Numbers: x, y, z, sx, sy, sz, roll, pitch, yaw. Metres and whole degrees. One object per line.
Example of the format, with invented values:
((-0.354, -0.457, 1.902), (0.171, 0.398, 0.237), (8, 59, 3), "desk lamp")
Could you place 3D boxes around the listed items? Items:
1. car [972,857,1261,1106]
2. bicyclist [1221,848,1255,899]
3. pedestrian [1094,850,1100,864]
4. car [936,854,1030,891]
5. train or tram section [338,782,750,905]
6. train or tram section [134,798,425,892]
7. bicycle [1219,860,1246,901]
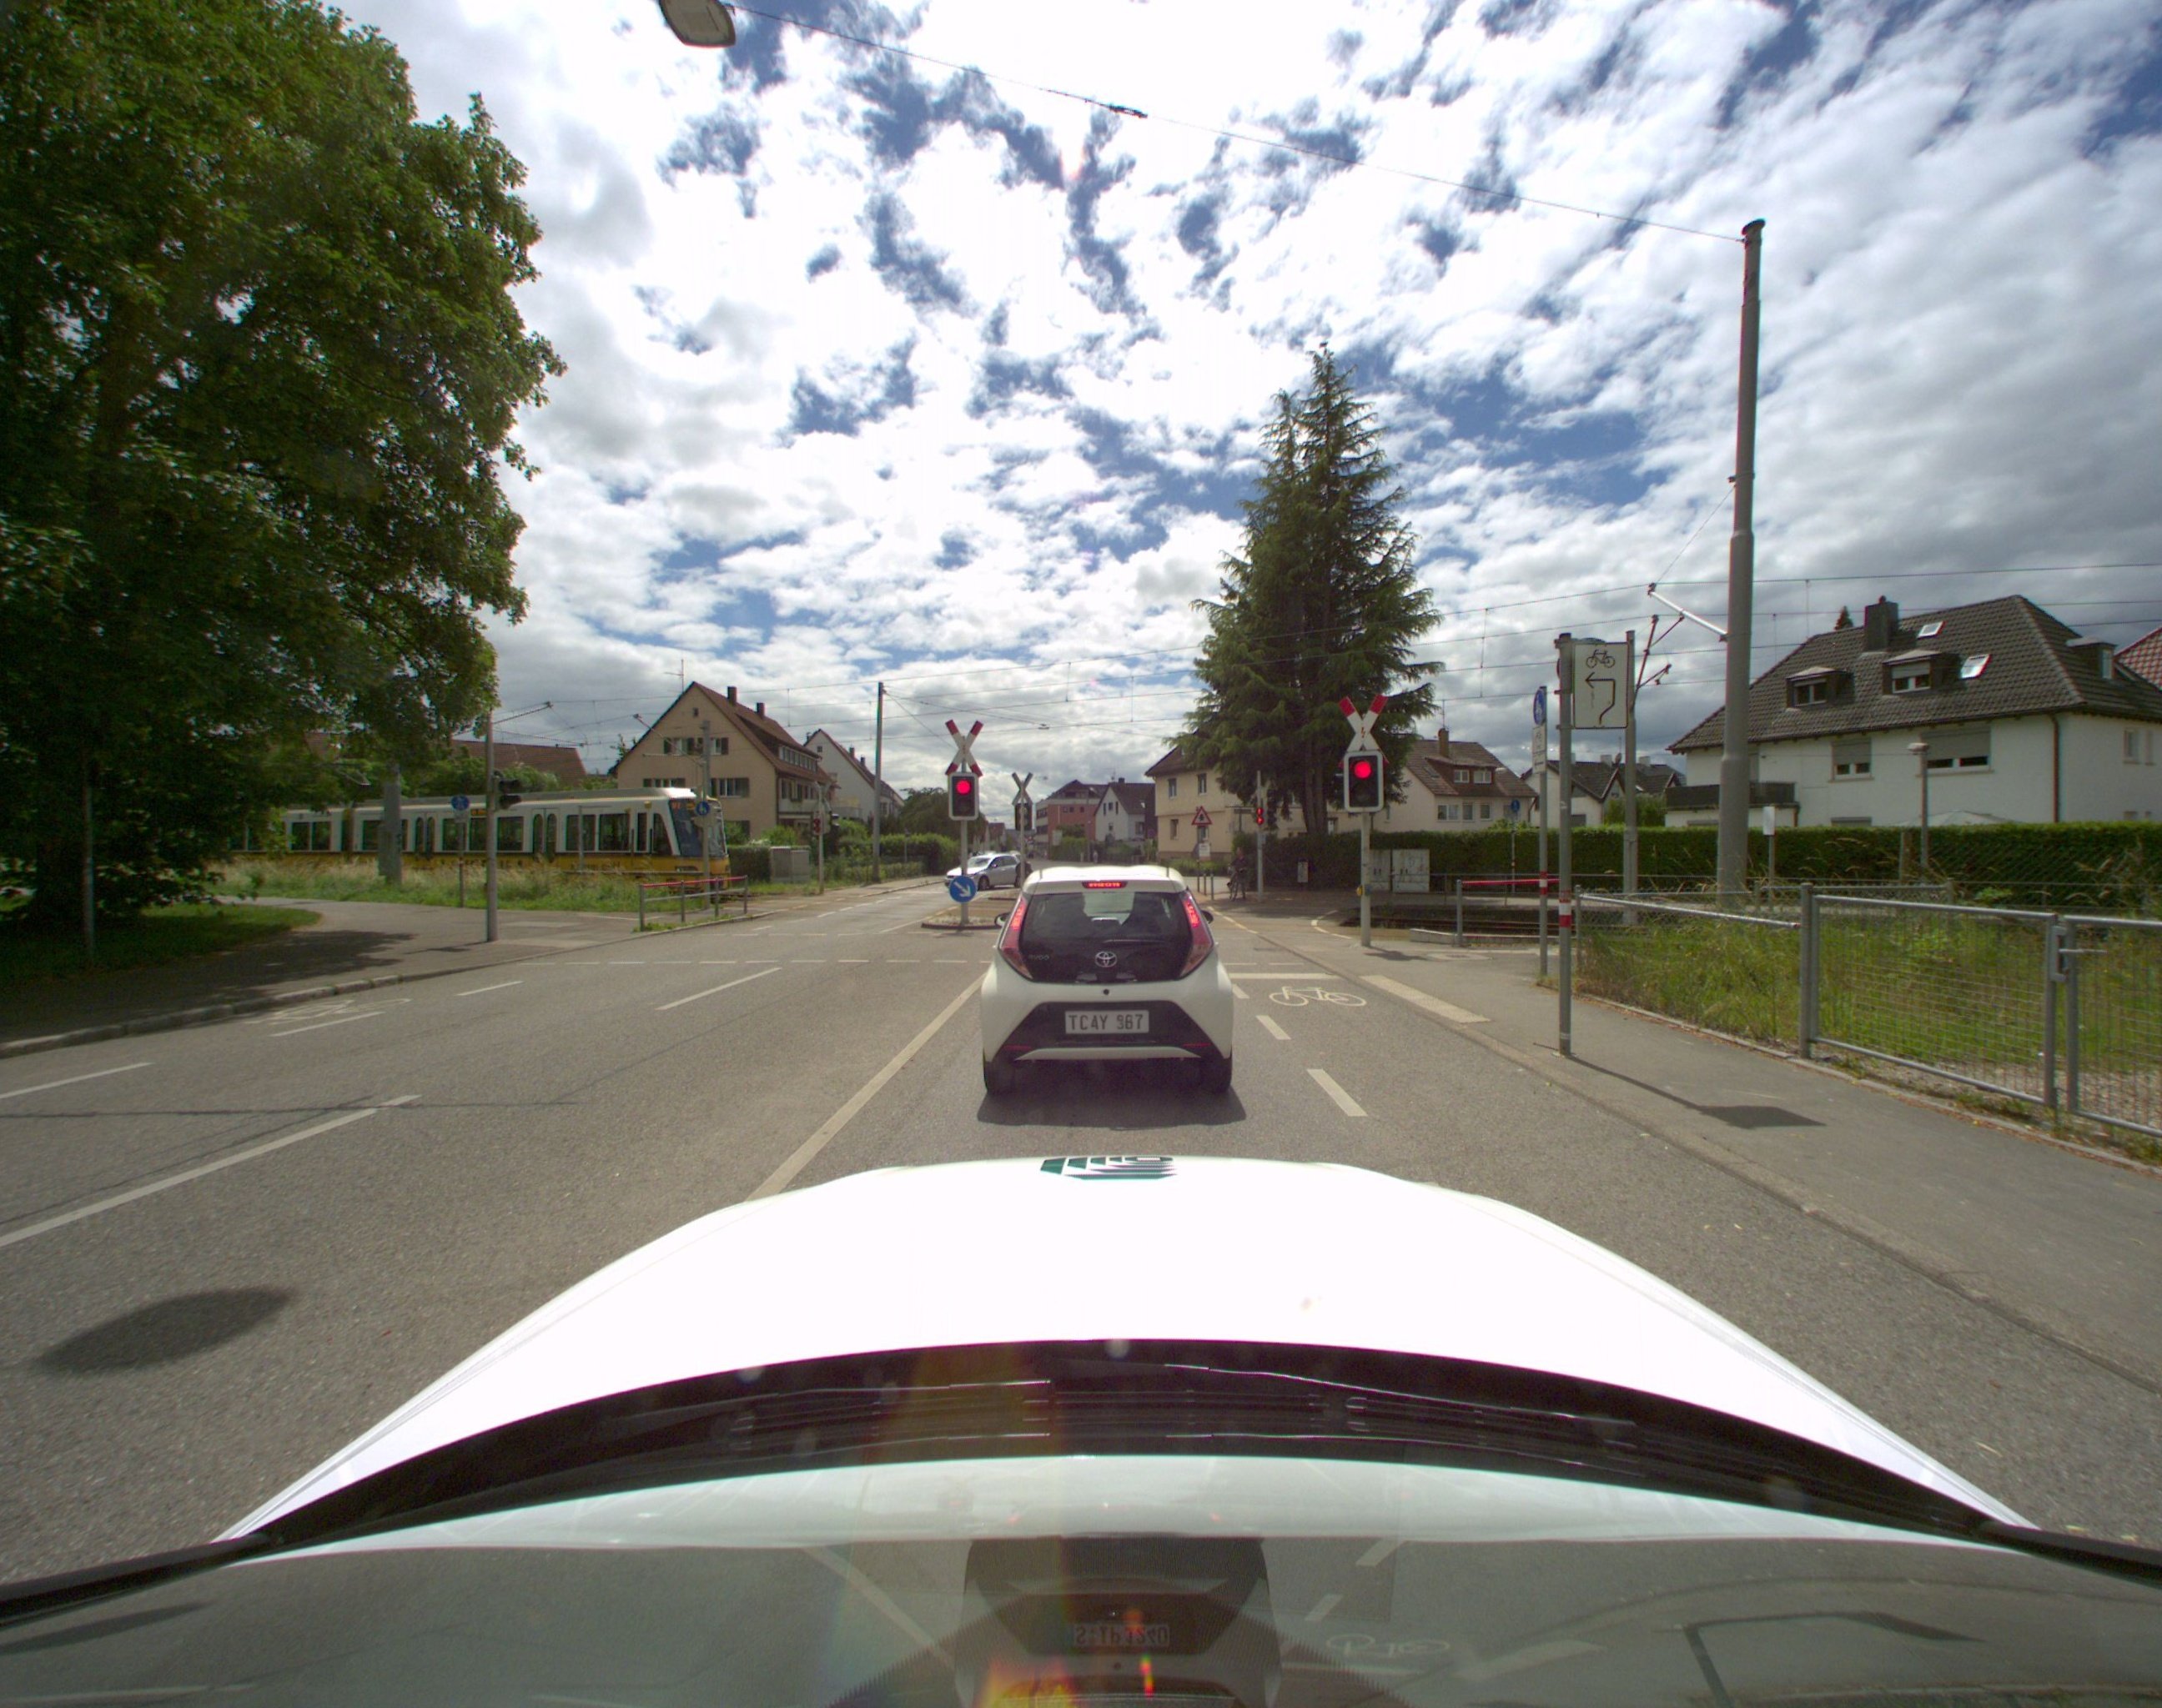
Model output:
((0.173, 0.762, 6.707), (1.716, 1.442, 3.706), (0, 0, -2), "car")
((5.059, 0.615, 26.312), (0.839, 1.553, 0.755), (-3, 2, -4), "bicyclist")
((1.883, 0.358, 94.579), (0.723, 1.576, 0.804), (0, 0, 2), "pedestrian")
((-4.128, 0.749, 34.812), (1.887, 1.441, 4.124), (0, 0, 30), "car")
((-20.274, -0.354, 29.759), (18.885, 3.704, 2.936), (0, 1, 24), "train or tram section")
((-37.431, -0.403, 37.575), (18.885, 3.704, 2.936), (0, 1, 24), "train or tram section")
((4.854, 0.826, 26.193), (0.456, 1.172, 1.477), (-3, 2, -4), "bicycle")
